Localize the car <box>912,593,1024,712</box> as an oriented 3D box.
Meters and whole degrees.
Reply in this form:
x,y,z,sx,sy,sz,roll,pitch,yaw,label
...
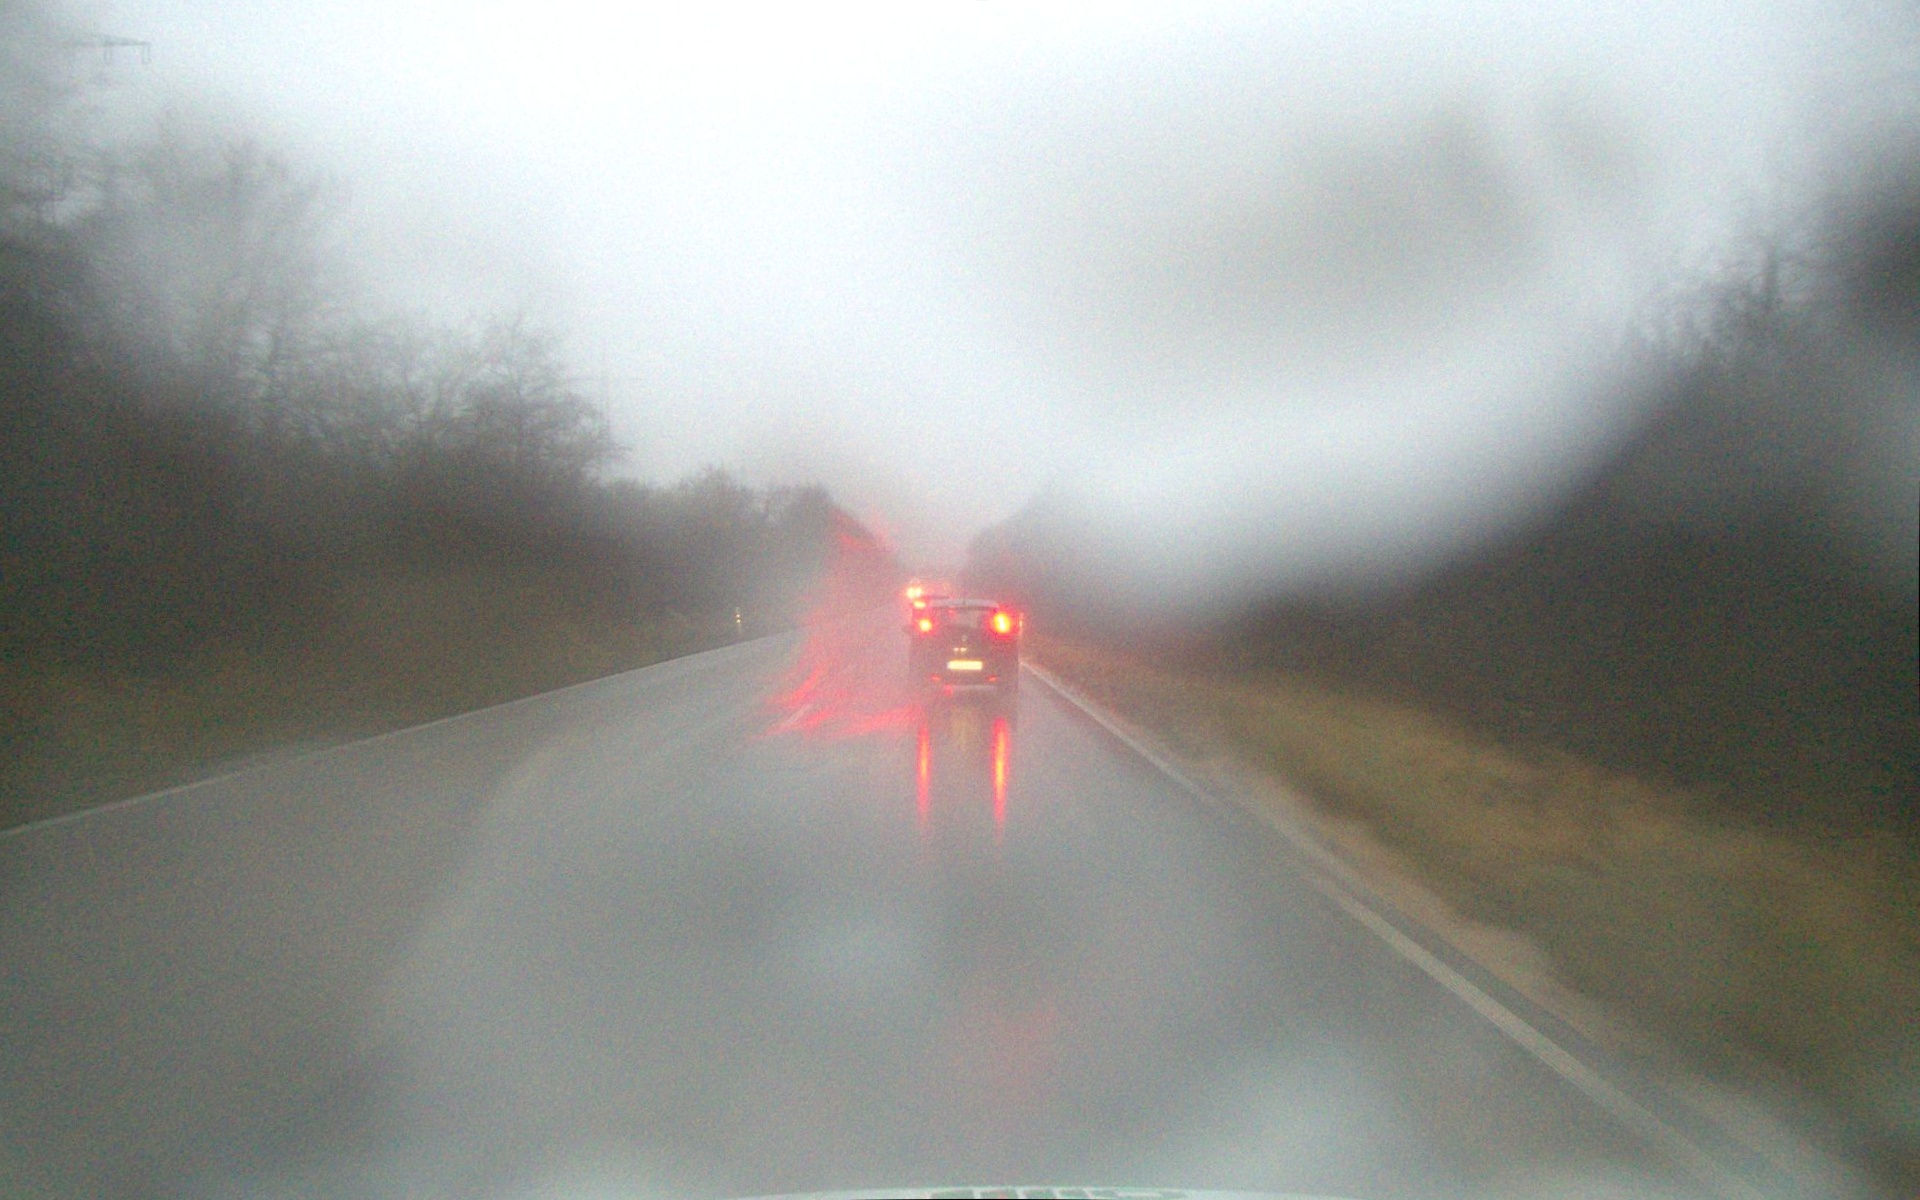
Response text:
x,y,z,sx,sy,sz,roll,pitch,yaw,label
0.089,0.766,25.893,1.614,1.701,3.513,1,0,-1,car

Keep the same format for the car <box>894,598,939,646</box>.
x,y,z,sx,sy,sz,roll,pitch,yaw,label
-1.712,0.859,65.857,1.698,1.810,3.999,1,0,-1,car
